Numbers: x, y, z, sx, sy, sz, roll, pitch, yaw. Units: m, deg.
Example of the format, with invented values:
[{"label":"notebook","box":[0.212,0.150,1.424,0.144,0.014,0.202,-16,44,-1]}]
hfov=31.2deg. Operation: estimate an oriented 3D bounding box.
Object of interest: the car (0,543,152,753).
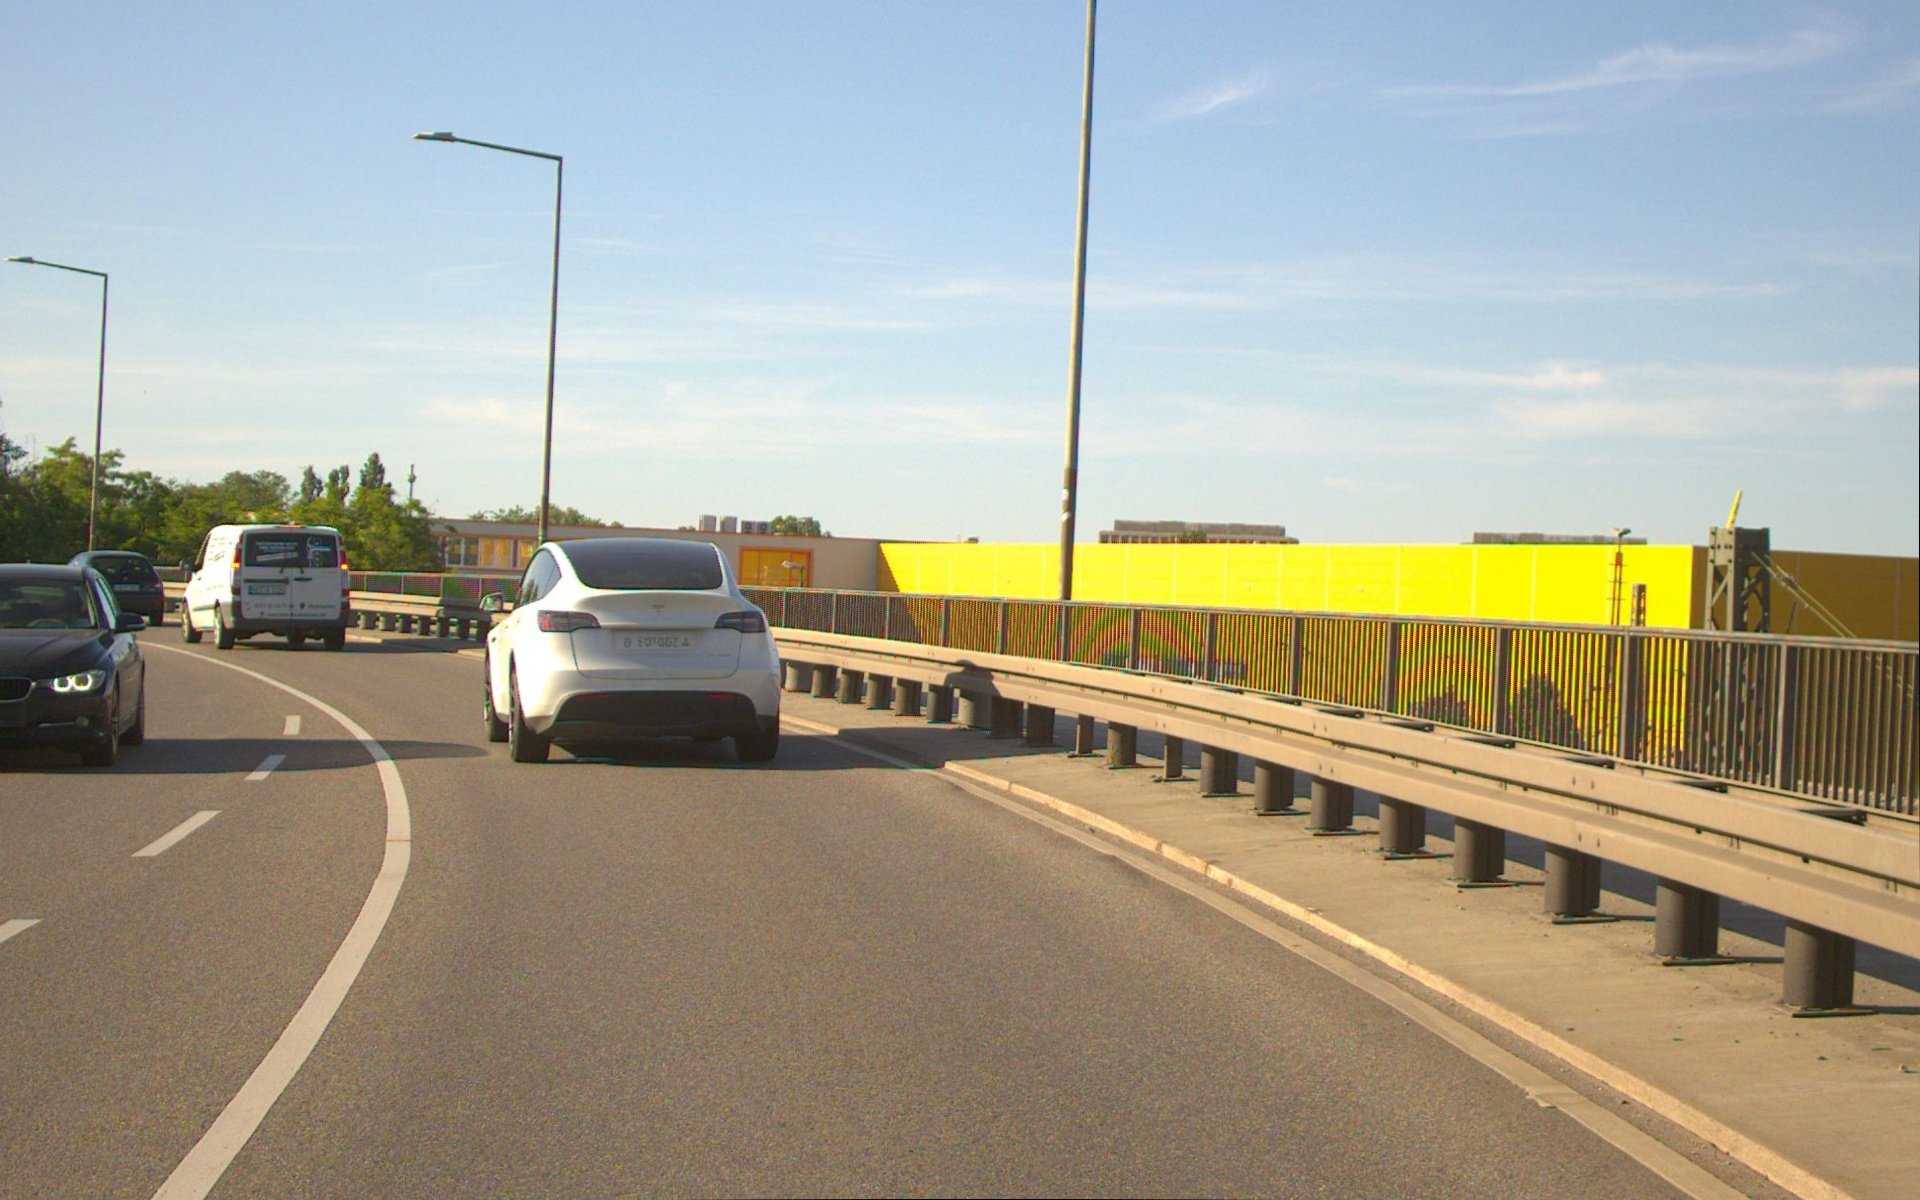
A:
[{"label":"car","box":[-7.079,0.292,25.535,1.873,1.434,4.322,0,1,-10]}]

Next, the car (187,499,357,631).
[{"label":"car","box":[-10.610,-0.545,52.799,2.004,1.934,4.469,0,1,-19]}]

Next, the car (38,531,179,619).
[{"label":"car","box":[-16.571,-0.487,66.771,1.968,1.632,4.001,-1,1,-24]}]

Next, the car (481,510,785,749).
[{"label":"car","box":[-2.533,0.176,25.779,1.985,1.632,4.064,-1,1,-9]}]
